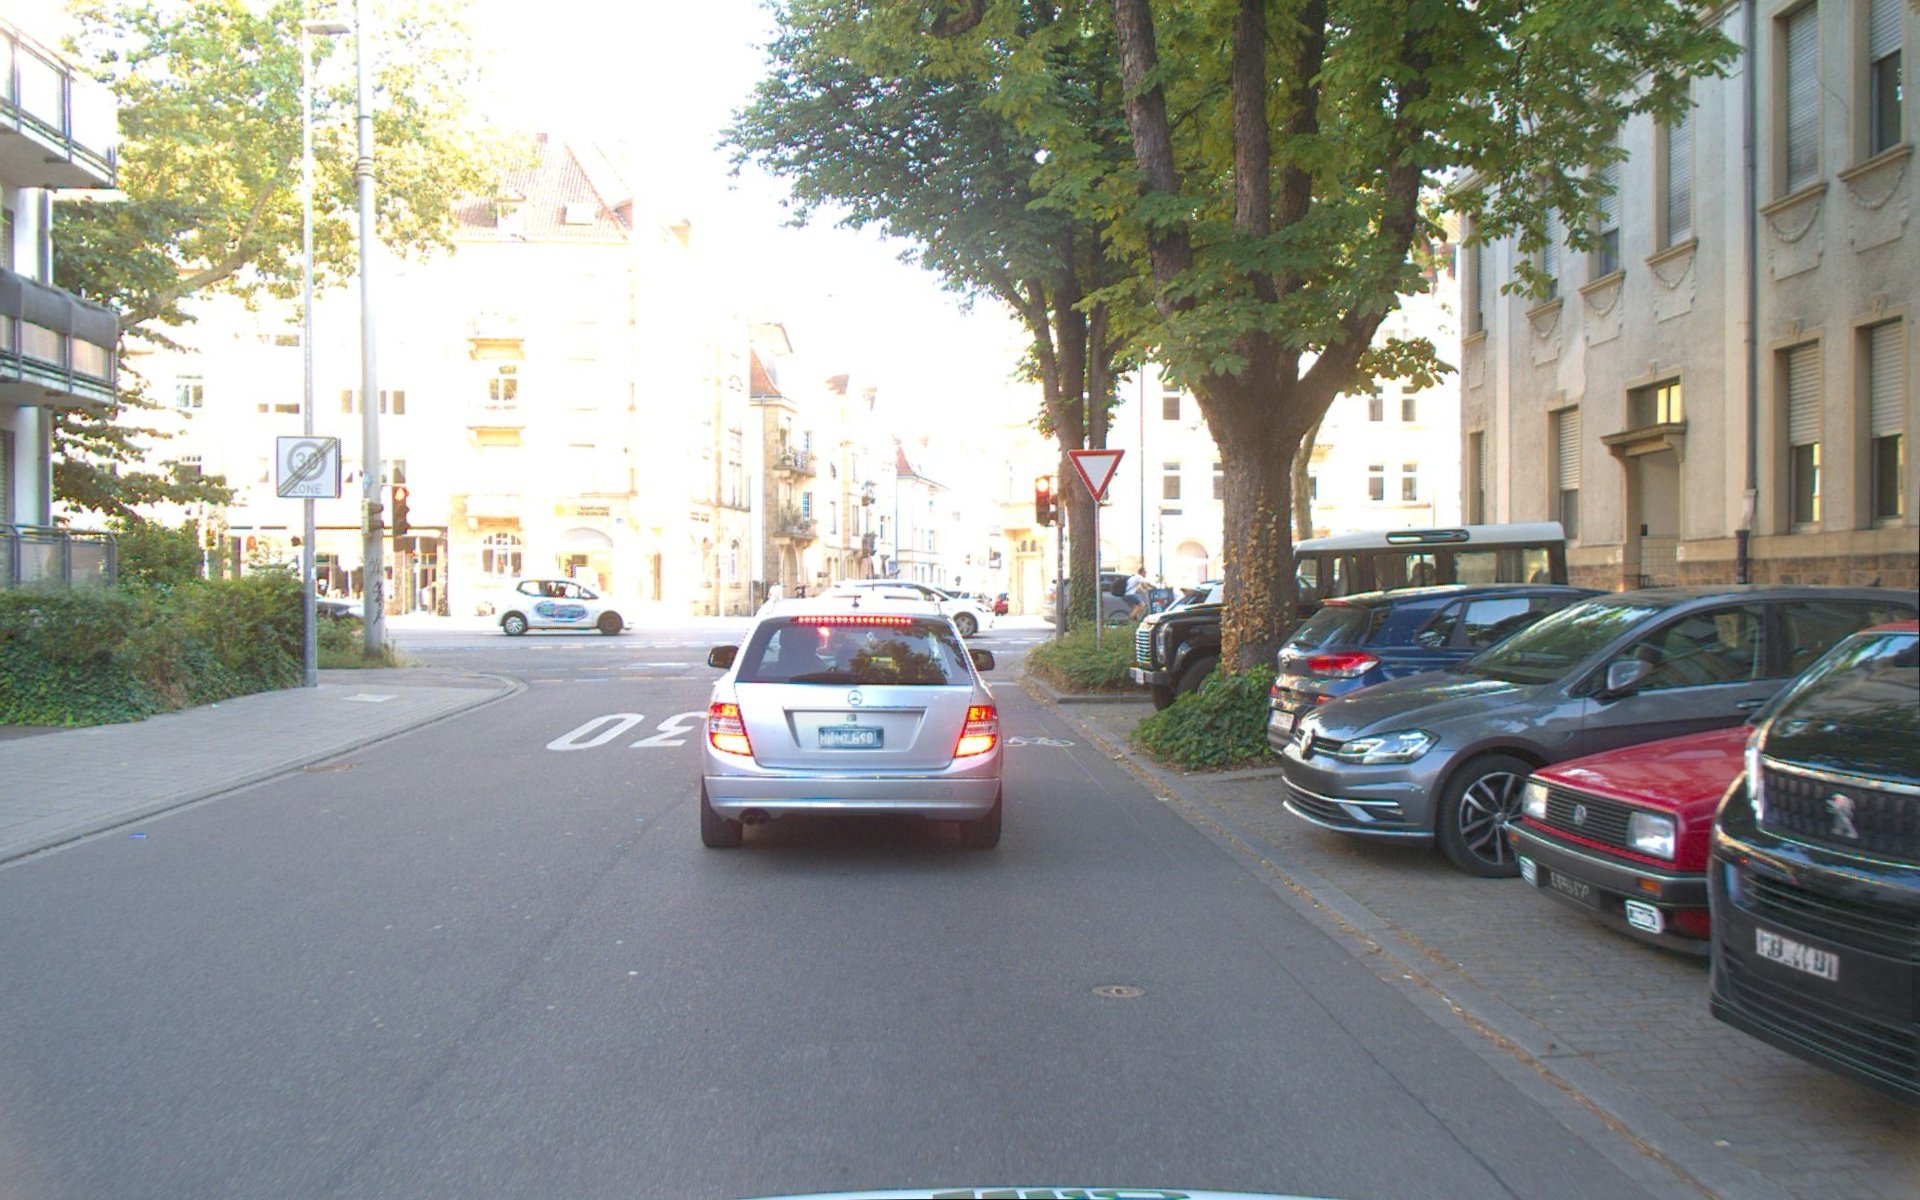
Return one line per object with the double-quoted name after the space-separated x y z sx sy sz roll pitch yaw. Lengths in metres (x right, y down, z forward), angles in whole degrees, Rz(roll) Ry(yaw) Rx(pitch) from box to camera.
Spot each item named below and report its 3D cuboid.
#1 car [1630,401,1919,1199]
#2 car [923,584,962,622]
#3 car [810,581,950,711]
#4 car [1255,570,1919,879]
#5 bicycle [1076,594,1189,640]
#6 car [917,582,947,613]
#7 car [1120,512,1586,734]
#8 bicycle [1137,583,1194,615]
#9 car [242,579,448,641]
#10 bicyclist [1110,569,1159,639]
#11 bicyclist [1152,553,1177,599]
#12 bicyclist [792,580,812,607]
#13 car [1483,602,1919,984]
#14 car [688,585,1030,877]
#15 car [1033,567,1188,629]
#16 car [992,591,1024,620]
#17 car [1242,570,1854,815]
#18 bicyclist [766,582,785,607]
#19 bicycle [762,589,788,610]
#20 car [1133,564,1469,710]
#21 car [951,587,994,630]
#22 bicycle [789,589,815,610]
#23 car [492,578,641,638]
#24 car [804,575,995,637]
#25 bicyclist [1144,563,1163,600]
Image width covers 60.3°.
4.544 0.424 4.548 4.658 1.907 1.895 -2 0 -7 "car"
-1.095 0.156 106.076 1.988 2.319 4.003 0 1 6 "car"
-1.031 0.497 20.920 1.587 1.472 4.341 0 1 -3 "car"
3.857 0.612 9.389 3.974 1.477 1.721 -1 0 -5 "car"
4.184 0.400 40.127 2.636 1.058 0.804 0 1 -13 "bicycle"
-2.097 -0.177 124.207 1.749 2.242 4.003 0 1 6 "car"
3.991 0.205 17.182 4.378 2.071 1.699 -1 0 -5 "car"
8.357 -0.038 67.309 2.213 1.268 0.636 0 1 -6 "bicycle"
-15.455 0.233 41.764 4.603 1.453 1.715 -1 1 -10 "car"
4.223 0.095 40.133 0.979 1.683 0.805 0 0 -13 "bicyclist"
8.310 -0.978 67.293 0.874 1.892 0.636 0 1 -6 "bicyclist"
-7.648 -0.327 80.137 0.754 1.312 0.753 0 1 9 "bicyclist"
4.548 0.685 7.123 4.057 1.338 1.627 -2 0 -7 "car"
-0.645 0.649 10.744 1.742 1.477 4.545 0 1 -3 "car"
4.077 -0.078 45.123 3.893 1.609 1.736 -1 1 -10 "car"
3.198 0.358 108.958 1.796 1.775 4.003 0 1 6 "car"
3.998 0.584 11.592 3.651 1.477 1.707 -1 0 -5 "car"
-8.927 -0.262 80.085 0.754 1.176 0.753 0 1 9 "bicyclist"
-8.943 -0.036 80.008 0.754 0.956 1.942 0 1 9 "bicycle"
4.085 0.416 20.129 3.651 1.597 1.707 -1 0 -5 "car"
0.705 0.458 92.840 1.988 2.319 4.003 0 1 6 "car"
-7.649 -0.028 80.139 0.754 0.950 1.942 0 1 9 "bicycle"
-10.085 0.182 42.633 3.619 1.474 1.512 -1 1 -10 "car"
-1.531 0.123 41.420 4.578 1.473 1.735 -1 1 -11 "car"
7.720 -0.737 66.113 0.631 1.451 0.636 0 1 -7 "bicyclist"
